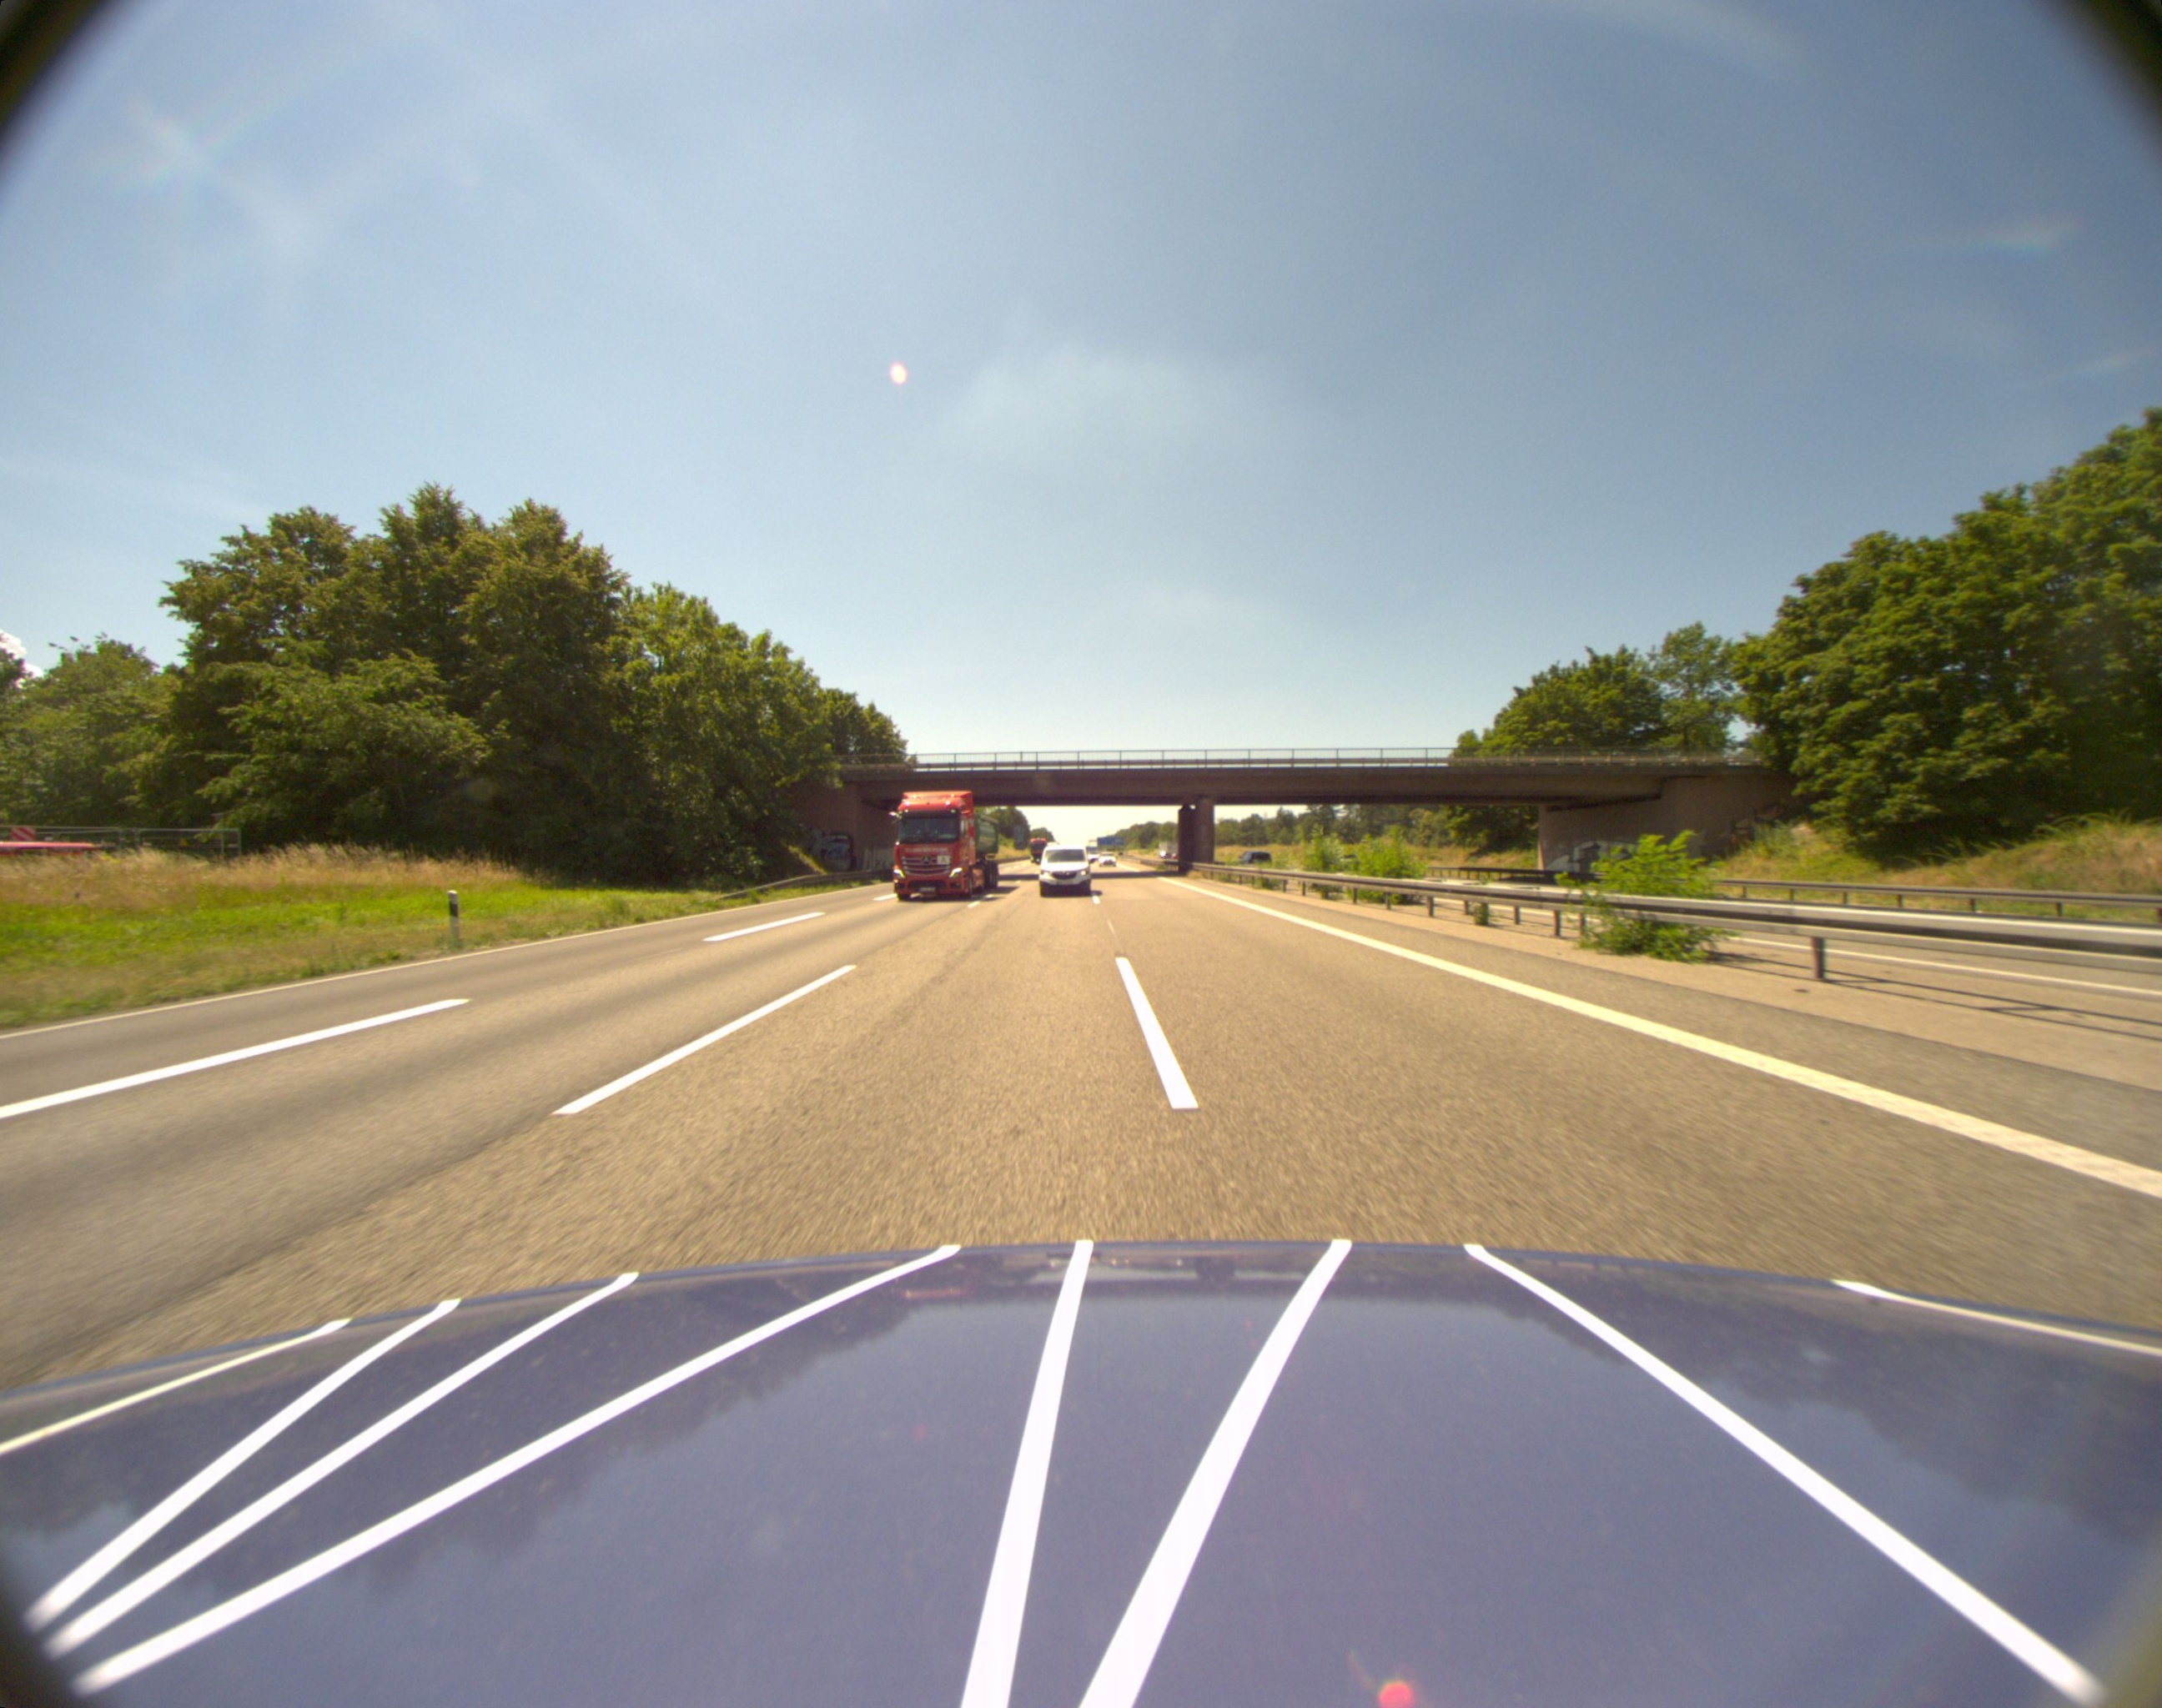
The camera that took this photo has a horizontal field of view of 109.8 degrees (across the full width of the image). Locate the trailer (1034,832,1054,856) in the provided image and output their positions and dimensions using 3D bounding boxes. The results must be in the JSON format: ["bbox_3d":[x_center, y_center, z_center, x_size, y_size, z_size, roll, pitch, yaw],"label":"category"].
[{"bbox_3d":[-5.905,-1.525,123.505,2.535,3.712,11.547,-2,0,0],"label":"trailer"}]

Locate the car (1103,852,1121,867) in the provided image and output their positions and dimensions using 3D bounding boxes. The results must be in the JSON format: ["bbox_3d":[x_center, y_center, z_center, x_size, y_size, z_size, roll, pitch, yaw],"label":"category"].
[{"bbox_3d":[3.060,0.506,75.897,1.581,1.411,3.352,-2,0,-1],"label":"car"}]

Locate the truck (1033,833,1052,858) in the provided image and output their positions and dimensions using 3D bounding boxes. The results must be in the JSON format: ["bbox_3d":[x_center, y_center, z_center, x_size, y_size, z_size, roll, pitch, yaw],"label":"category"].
[{"bbox_3d":[-5.897,-1.312,117.580,2.535,3.712,6.098,-2,0,0],"label":"truck"}]

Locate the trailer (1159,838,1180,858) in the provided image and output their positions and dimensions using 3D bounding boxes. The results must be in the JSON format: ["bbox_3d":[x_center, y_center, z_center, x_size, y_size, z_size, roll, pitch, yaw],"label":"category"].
[{"bbox_3d":[19.517,-1.337,168.360,2.956,4.084,14.101,2,0,0],"label":"trailer"}]

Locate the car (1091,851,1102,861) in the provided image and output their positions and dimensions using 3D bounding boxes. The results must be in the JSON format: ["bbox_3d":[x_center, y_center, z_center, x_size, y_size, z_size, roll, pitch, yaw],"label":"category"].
[{"bbox_3d":[2.432,0.300,118.121,1.582,1.411,3.353,-2,-2,-1],"label":"car"}]

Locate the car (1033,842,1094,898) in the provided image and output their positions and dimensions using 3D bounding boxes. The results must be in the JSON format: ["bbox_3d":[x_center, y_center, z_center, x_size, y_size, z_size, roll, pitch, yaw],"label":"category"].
[{"bbox_3d":[-0.549,0.533,27.874,1.870,1.807,4.941,-2,0,2],"label":"car"}]

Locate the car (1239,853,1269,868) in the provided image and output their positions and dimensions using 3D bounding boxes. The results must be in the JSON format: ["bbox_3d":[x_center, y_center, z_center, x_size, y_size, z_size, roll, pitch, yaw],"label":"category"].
[{"bbox_3d":[20.187,0.776,89.012,2.233,1.601,5.059,2,0,-1],"label":"car"}]

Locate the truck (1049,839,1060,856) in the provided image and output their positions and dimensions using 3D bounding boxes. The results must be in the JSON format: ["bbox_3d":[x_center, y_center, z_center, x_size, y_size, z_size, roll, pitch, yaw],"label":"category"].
[{"bbox_3d":[-6.442,-1.628,185.135,2.604,3.979,6.173,-2,0,0],"label":"truck"}]

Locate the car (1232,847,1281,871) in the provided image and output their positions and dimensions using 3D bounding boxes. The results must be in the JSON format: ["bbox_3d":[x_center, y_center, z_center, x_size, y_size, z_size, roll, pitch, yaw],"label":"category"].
[{"bbox_3d":[12.390,0.348,54.072,2.233,1.601,5.059,2,0,-1],"label":"car"}]

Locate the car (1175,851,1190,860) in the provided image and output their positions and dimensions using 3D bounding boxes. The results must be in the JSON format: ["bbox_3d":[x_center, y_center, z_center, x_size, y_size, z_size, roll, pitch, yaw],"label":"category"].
[{"bbox_3d":[19.415,0.350,145.837,2.233,1.601,4.787,2,0,-1],"label":"car"}]

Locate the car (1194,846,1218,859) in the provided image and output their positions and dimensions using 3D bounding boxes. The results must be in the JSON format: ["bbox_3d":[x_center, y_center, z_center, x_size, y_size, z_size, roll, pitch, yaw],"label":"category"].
[{"bbox_3d":[15.822,-0.196,96.375,2.233,1.601,5.059,2,0,-1],"label":"car"}]

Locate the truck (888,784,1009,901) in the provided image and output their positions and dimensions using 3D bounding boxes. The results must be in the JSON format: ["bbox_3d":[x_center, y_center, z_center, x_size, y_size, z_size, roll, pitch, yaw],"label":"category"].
[{"bbox_3d":[-4.962,-0.397,31.308,2.688,3.776,12.477,-2,0,0],"label":"truck"}]

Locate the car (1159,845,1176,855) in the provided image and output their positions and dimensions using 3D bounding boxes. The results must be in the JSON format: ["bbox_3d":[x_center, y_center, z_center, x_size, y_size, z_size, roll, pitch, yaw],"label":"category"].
[{"bbox_3d":[15.193,-0.728,133.675,2.233,1.601,5.059,2,0,-1],"label":"car"}]
